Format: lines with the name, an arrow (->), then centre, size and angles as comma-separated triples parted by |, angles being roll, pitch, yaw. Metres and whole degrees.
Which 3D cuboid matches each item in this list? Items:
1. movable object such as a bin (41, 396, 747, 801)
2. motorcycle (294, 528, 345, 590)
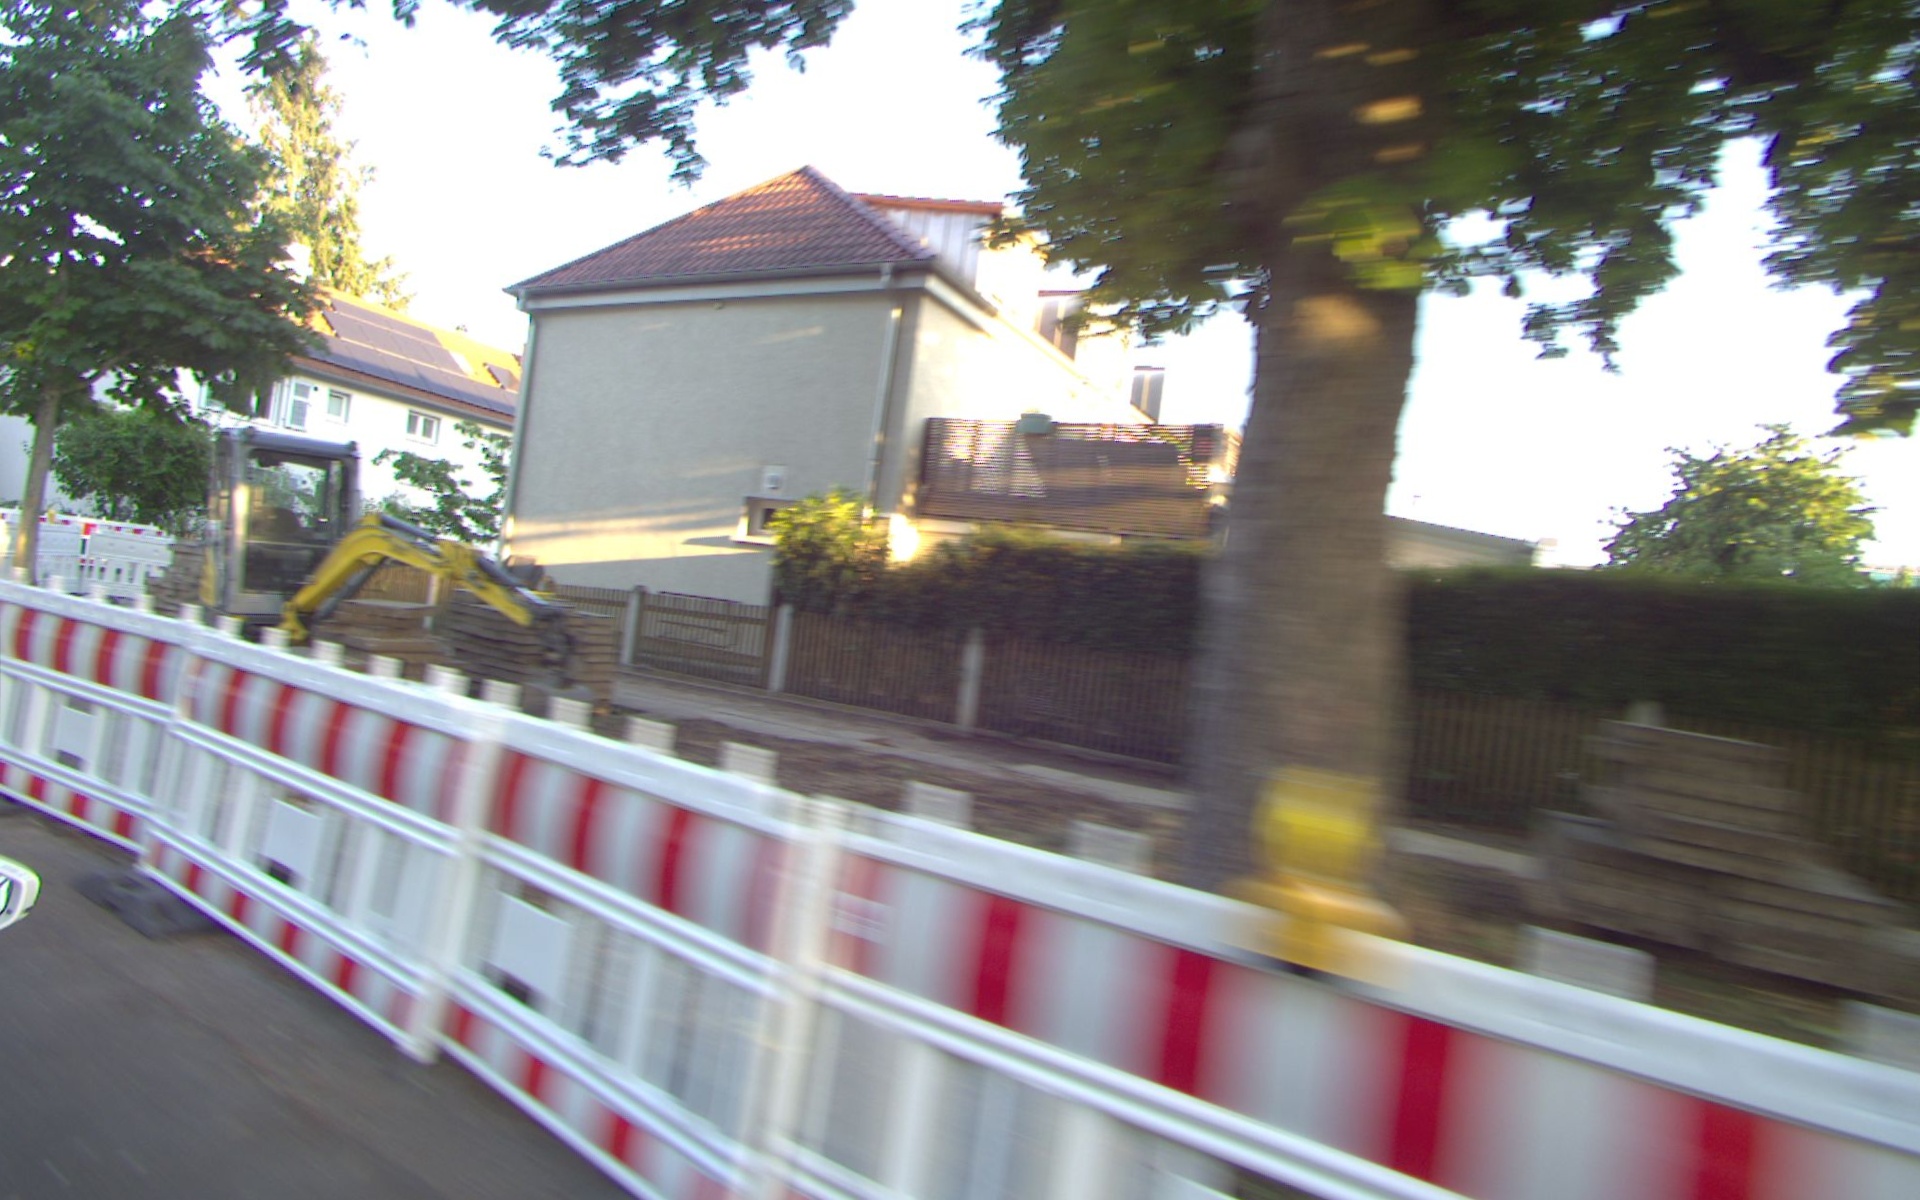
movable object such as a bin -> -4.852, -0.111, 8.684 | 5.105, 2.430, 2.637 | 8, -2, 26
motorcycle -> -12.927, -0.819, 20.338 | 0.575, 1.118, 1.834 | 9, -2, -28
